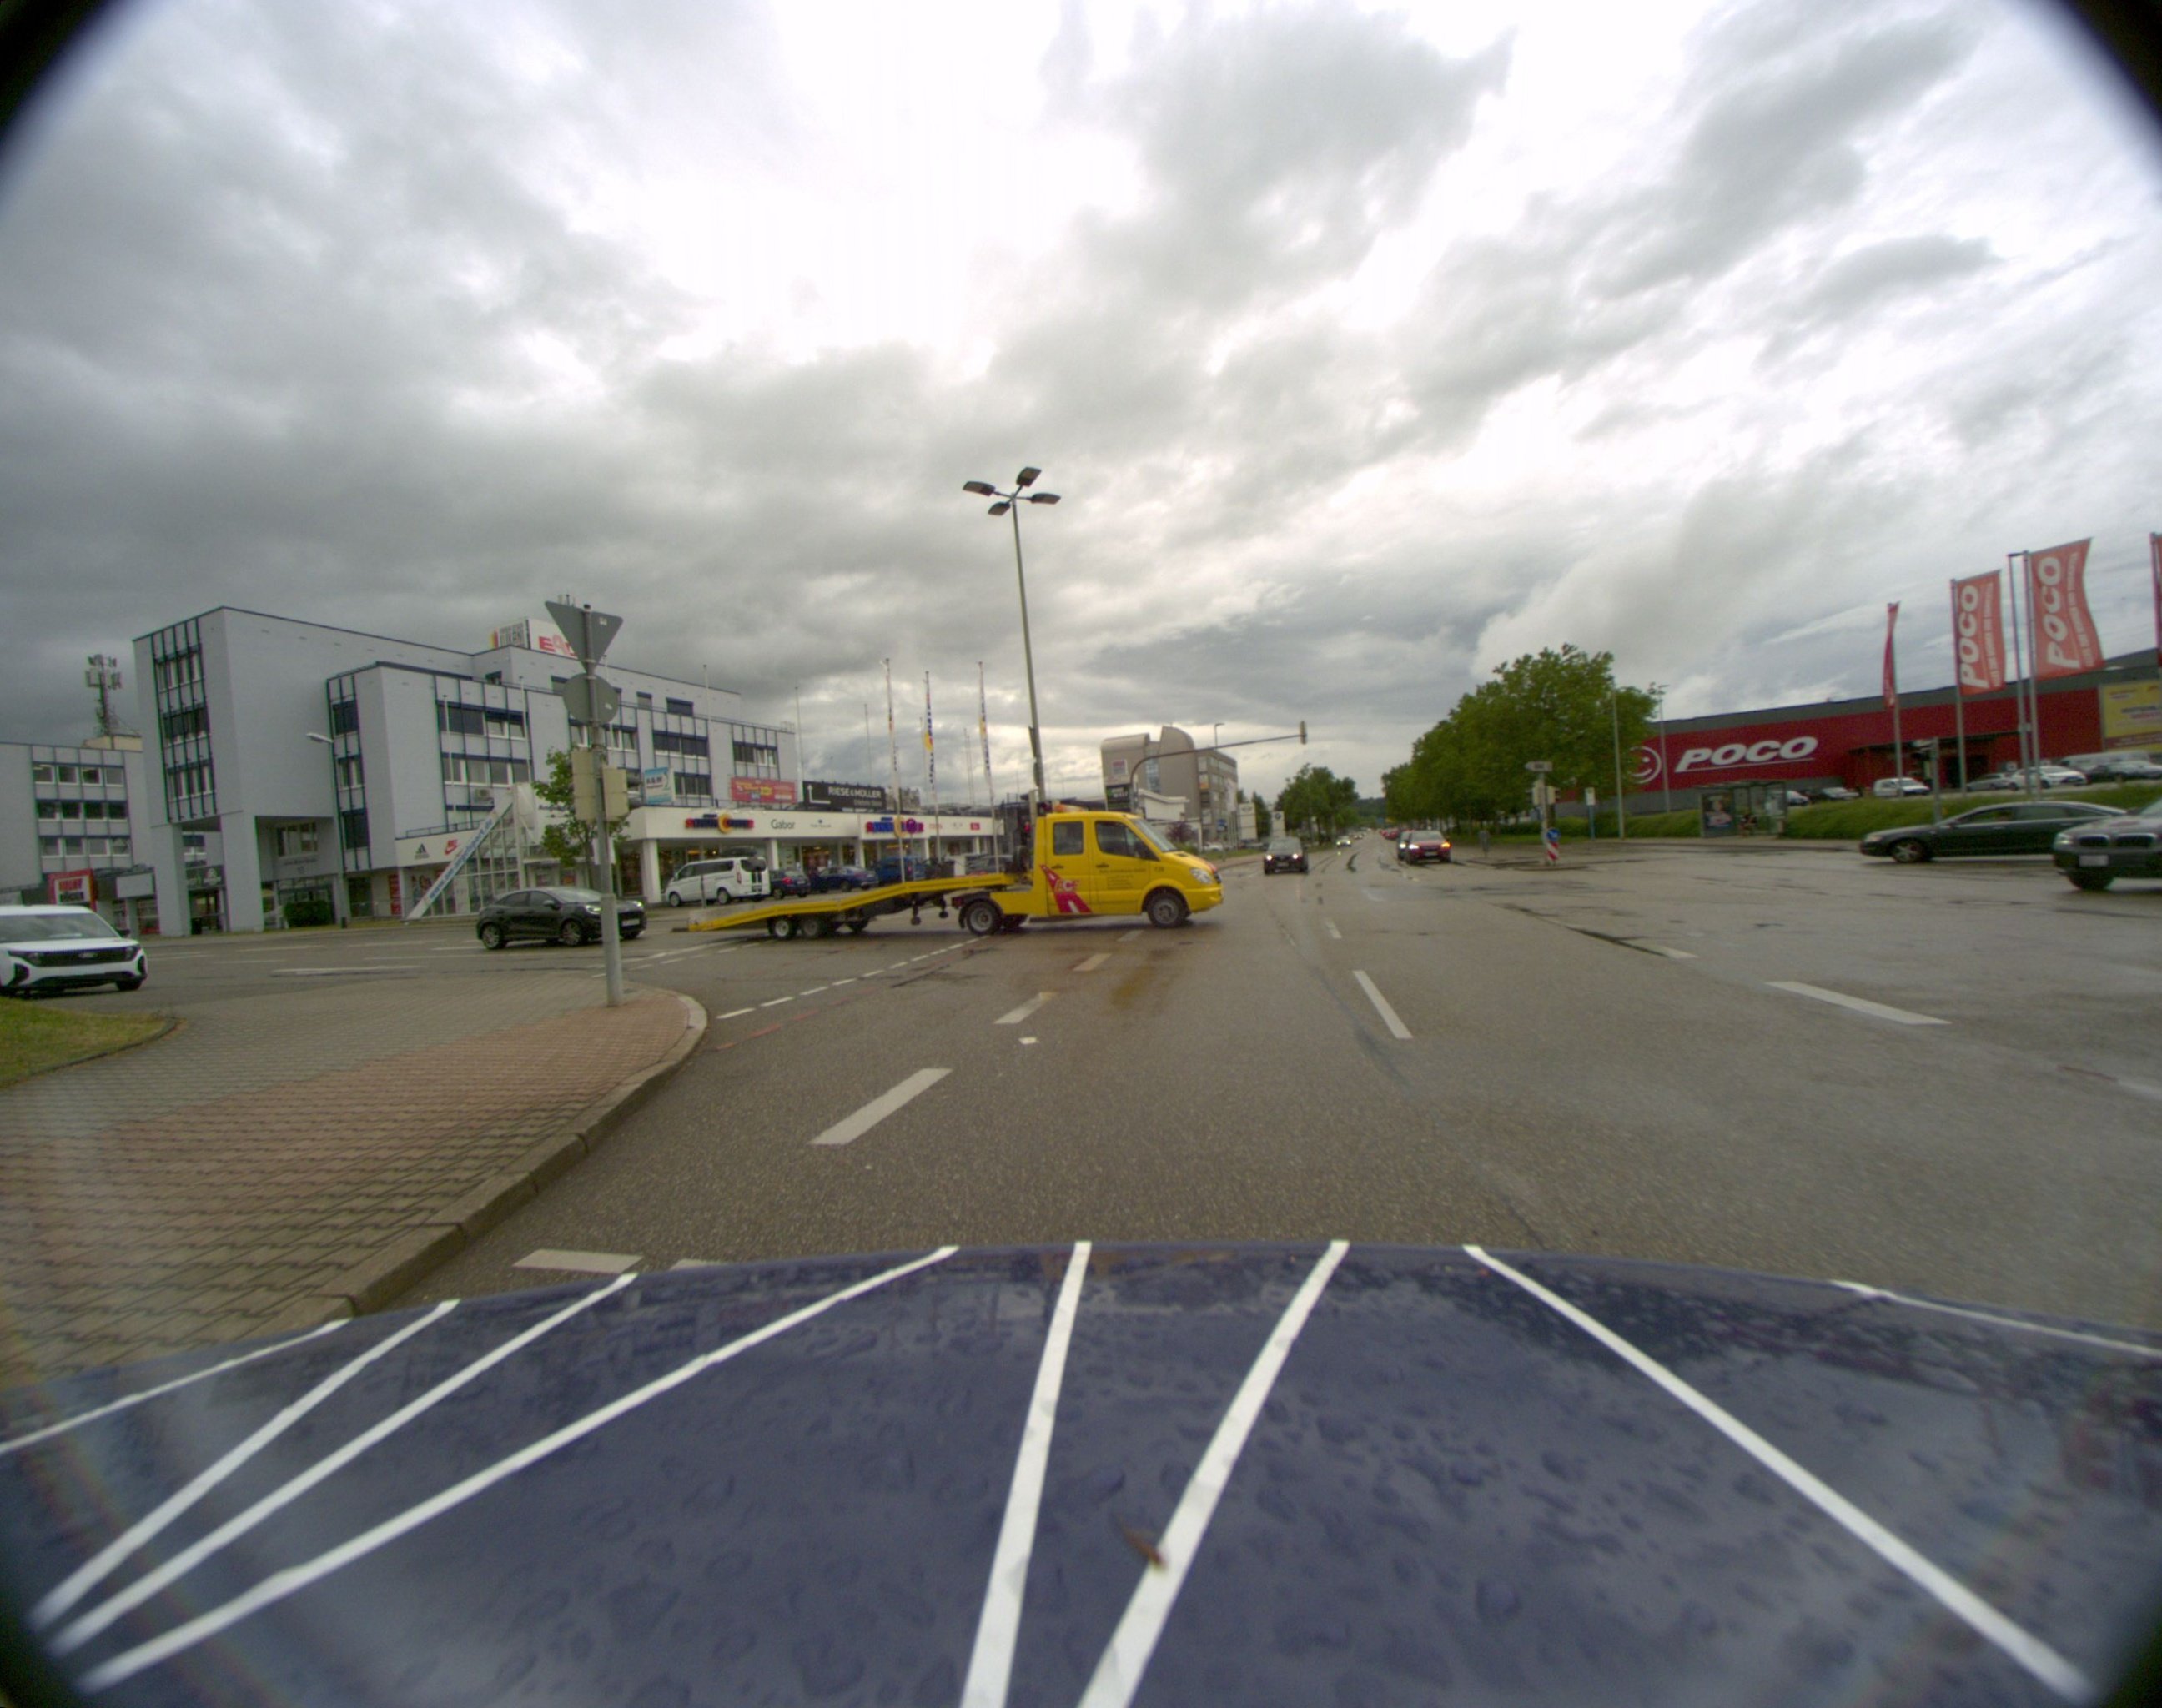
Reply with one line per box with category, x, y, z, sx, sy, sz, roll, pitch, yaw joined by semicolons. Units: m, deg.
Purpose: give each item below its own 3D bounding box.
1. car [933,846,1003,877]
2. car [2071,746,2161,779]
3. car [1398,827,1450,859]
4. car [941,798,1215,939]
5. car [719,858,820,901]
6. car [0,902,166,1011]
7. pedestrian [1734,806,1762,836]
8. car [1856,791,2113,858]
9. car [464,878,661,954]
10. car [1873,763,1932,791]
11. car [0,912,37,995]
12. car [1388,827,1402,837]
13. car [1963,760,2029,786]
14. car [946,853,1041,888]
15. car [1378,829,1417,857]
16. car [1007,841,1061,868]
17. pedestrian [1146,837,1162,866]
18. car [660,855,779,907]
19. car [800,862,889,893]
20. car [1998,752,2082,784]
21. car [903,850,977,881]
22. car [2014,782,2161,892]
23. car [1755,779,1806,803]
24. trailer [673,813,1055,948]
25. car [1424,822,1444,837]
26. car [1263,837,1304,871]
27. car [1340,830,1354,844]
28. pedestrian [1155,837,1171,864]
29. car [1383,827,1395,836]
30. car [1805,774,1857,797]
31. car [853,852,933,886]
car;-7.880;0.533;53.225;4.365;1.895;1.899;-3;1;22
car;66.487;-5.852;48.785;1.669;1.636;3.968;-3;0;21
car;16.739;-0.540;37.225;1.715;1.455;4.004;-1;1;16
car;0.015;0.323;15.454;5.006;2.459;2.249;-3;0;16
car;-15.096;1.230;36.833;4.365;1.809;1.899;-3;1;22
car;-20.112;1.941;14.583;4.240;1.772;1.801;-4;-2;18
pedestrian;33.032;-1.608;37.638;0.779;1.423;0.642;-3;1;16
car;22.681;-0.689;19.229;1.791;1.396;3.991;-4;0;-34
car;-13.118;1.558;19.307;3.993;1.532;1.816;-4;2;14
car;69.091;-6.425;63.989;1.788;1.914;3.754;-3;0;19
car;-24.671;2.235;16.087;3.992;1.698;1.826;-4;1;19
car;50.982;-3.562;123.228;1.840;1.579;4.005;-3;0;20
car;74.613;-6.573;62.026;1.694;1.636;3.968;-3;0;21
car;-4.227;0.790;36.743;4.117;1.386;1.826;-3;0;26
car;17.998;-0.662;43.368;1.694;1.389;3.706;-3;1;18
car;-3.988;0.029;64.510;3.991;2.002;1.914;-3;1;25
pedestrian;4.382;-0.167;45.626;0.700;1.701;0.698;-3;1;23
car;-16.053;1.183;33.760;4.776;2.002;2.003;-3;0;23
car;-12.793;1.272;41.078;4.365;1.386;1.826;-4;0;22
car;63.956;-5.715;50.763;1.669;1.636;3.968;-3;0;21
car;-9.430;0.770;50.854;4.365;1.754;1.899;-3;1;22
car;17.399;-0.379;11.327;4.588;1.544;1.901;-4;1;0
car;58.543;-5.258;63.678;1.694;1.636;3.968;-3;0;21
trailer;-4.789;0.622;16.787;7.956;2.459;2.313;-3;0;16
car;44.087;-3.046;95.007;1.840;1.579;4.005;-3;0;20
car;9.808;-0.043;36.730;1.752;1.455;4.004;-3;0;16
car;34.554;-2.244;98.834;1.618;1.718;3.683;-3;0;19
pedestrian;5.184;-0.217;47.960;0.713;1.701;0.698;-3;1;23
car;58.026;-4.145;143.019;1.840;1.579;4.005;-3;0;20
car;64.965;-5.925;65.867;1.694;1.636;3.968;-3;0;21
car;-11.455;0.930;46.314;4.365;1.754;1.899;-3;1;22
